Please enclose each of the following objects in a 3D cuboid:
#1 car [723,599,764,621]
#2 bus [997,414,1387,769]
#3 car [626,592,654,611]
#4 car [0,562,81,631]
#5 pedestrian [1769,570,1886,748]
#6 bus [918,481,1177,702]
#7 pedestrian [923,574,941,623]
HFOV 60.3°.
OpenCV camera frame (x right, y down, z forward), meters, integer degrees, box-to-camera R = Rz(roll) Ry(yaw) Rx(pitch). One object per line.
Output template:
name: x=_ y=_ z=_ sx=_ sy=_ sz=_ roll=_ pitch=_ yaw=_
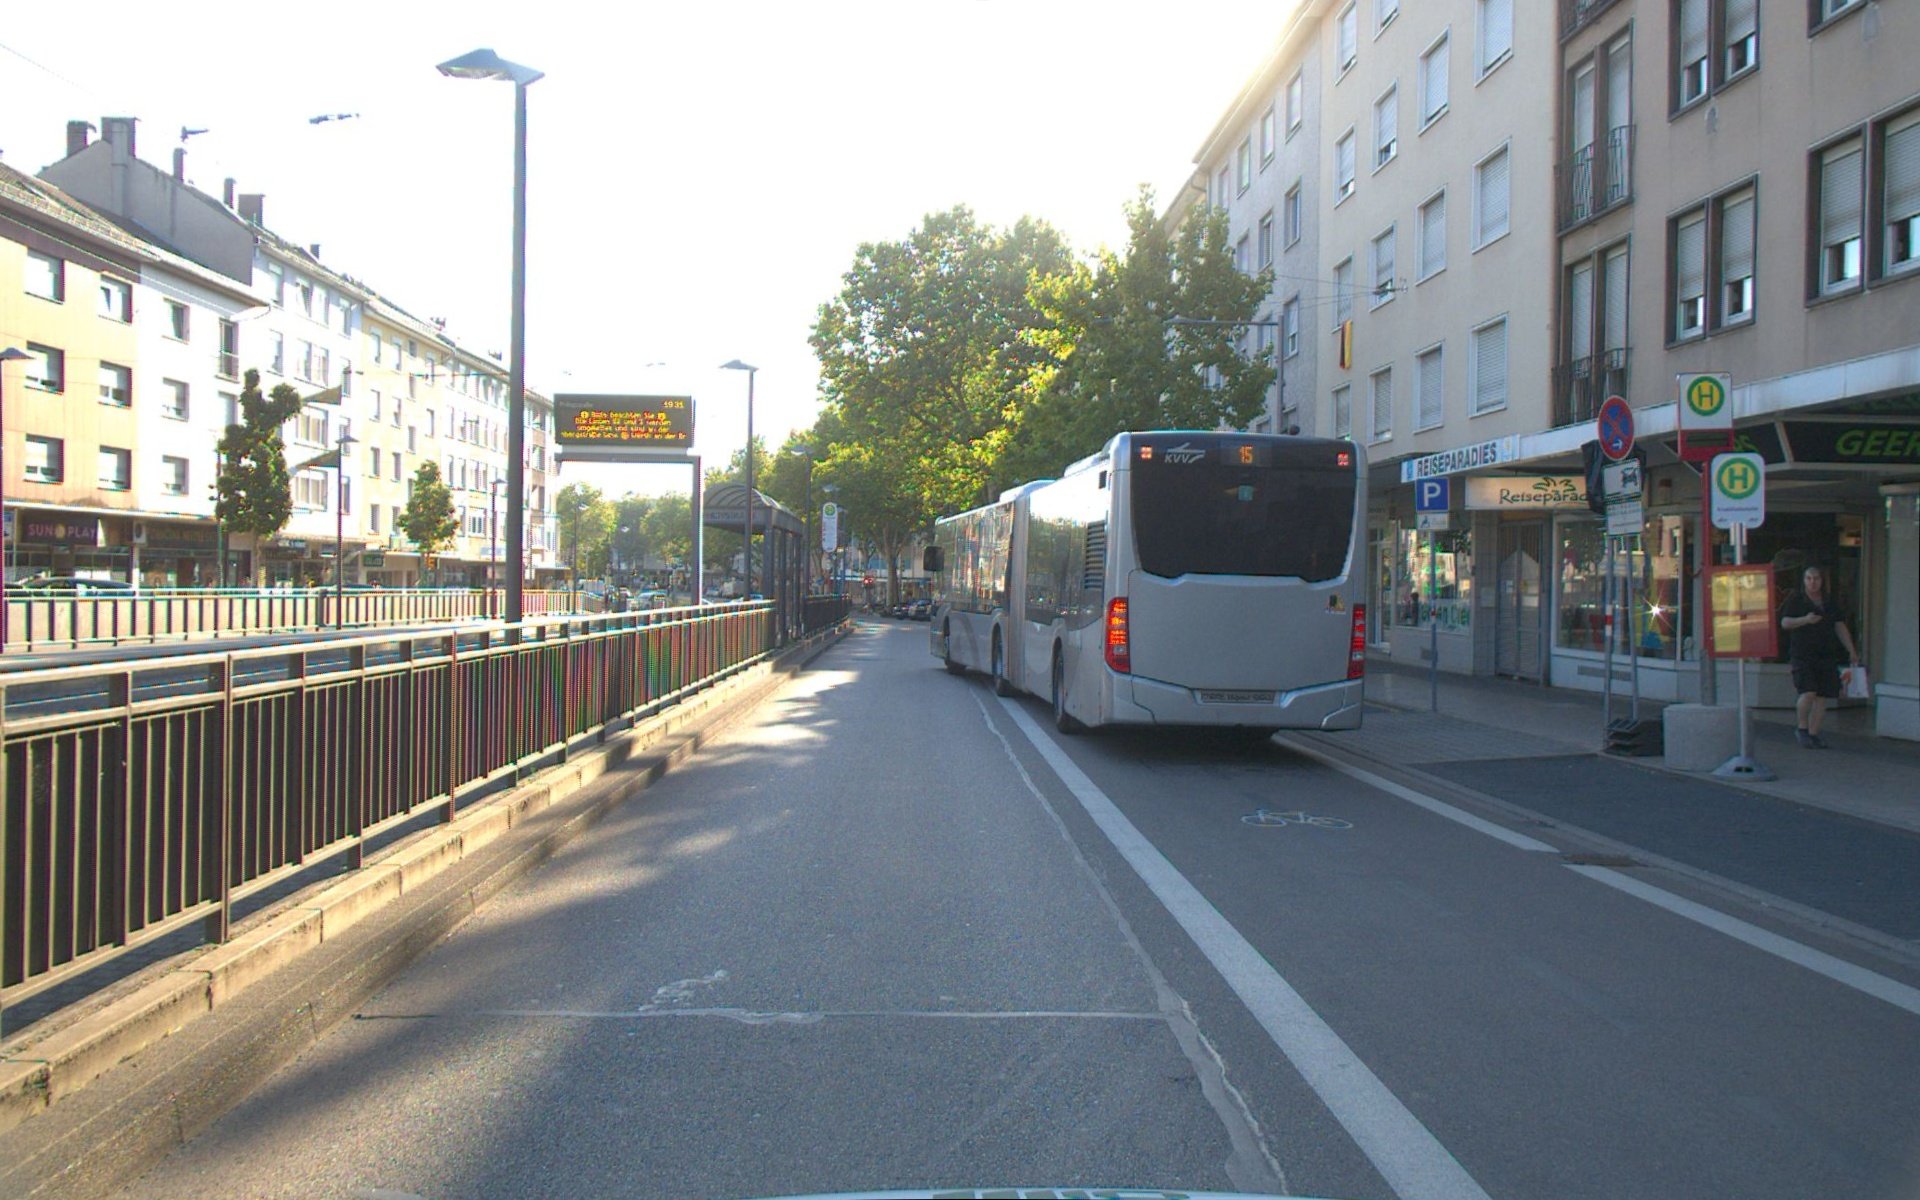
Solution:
car: x=-20.909 y=0.985 z=159.893 sx=3.913 sy=2.049 sz=1.959 roll=1 pitch=0 yaw=-9
bus: x=2.222 y=-0.110 z=19.666 sx=2.643 sy=3.172 sz=9.373 roll=1 pitch=0 yaw=-4
car: x=-29.186 y=0.132 z=150.965 sx=1.953 sy=1.680 sz=3.999 roll=0 pitch=0 yaw=-2
car: x=-24.233 y=-0.090 z=41.495 sx=1.740 sy=1.709 sz=3.489 roll=1 pitch=1 yaw=42
pedestrian: x=8.296 y=0.547 z=15.839 sx=0.709 sy=1.661 sz=0.766 roll=0 pitch=0 yaw=-2
bus: x=1.187 y=-0.158 z=28.618 sx=2.646 sy=3.172 sz=9.052 roll=1 pitch=0 yaw=-9
pedestrian: x=-1.481 y=-0.082 z=87.494 sx=0.870 sy=2.591 sz=1.164 roll=0 pitch=0 yaw=5
